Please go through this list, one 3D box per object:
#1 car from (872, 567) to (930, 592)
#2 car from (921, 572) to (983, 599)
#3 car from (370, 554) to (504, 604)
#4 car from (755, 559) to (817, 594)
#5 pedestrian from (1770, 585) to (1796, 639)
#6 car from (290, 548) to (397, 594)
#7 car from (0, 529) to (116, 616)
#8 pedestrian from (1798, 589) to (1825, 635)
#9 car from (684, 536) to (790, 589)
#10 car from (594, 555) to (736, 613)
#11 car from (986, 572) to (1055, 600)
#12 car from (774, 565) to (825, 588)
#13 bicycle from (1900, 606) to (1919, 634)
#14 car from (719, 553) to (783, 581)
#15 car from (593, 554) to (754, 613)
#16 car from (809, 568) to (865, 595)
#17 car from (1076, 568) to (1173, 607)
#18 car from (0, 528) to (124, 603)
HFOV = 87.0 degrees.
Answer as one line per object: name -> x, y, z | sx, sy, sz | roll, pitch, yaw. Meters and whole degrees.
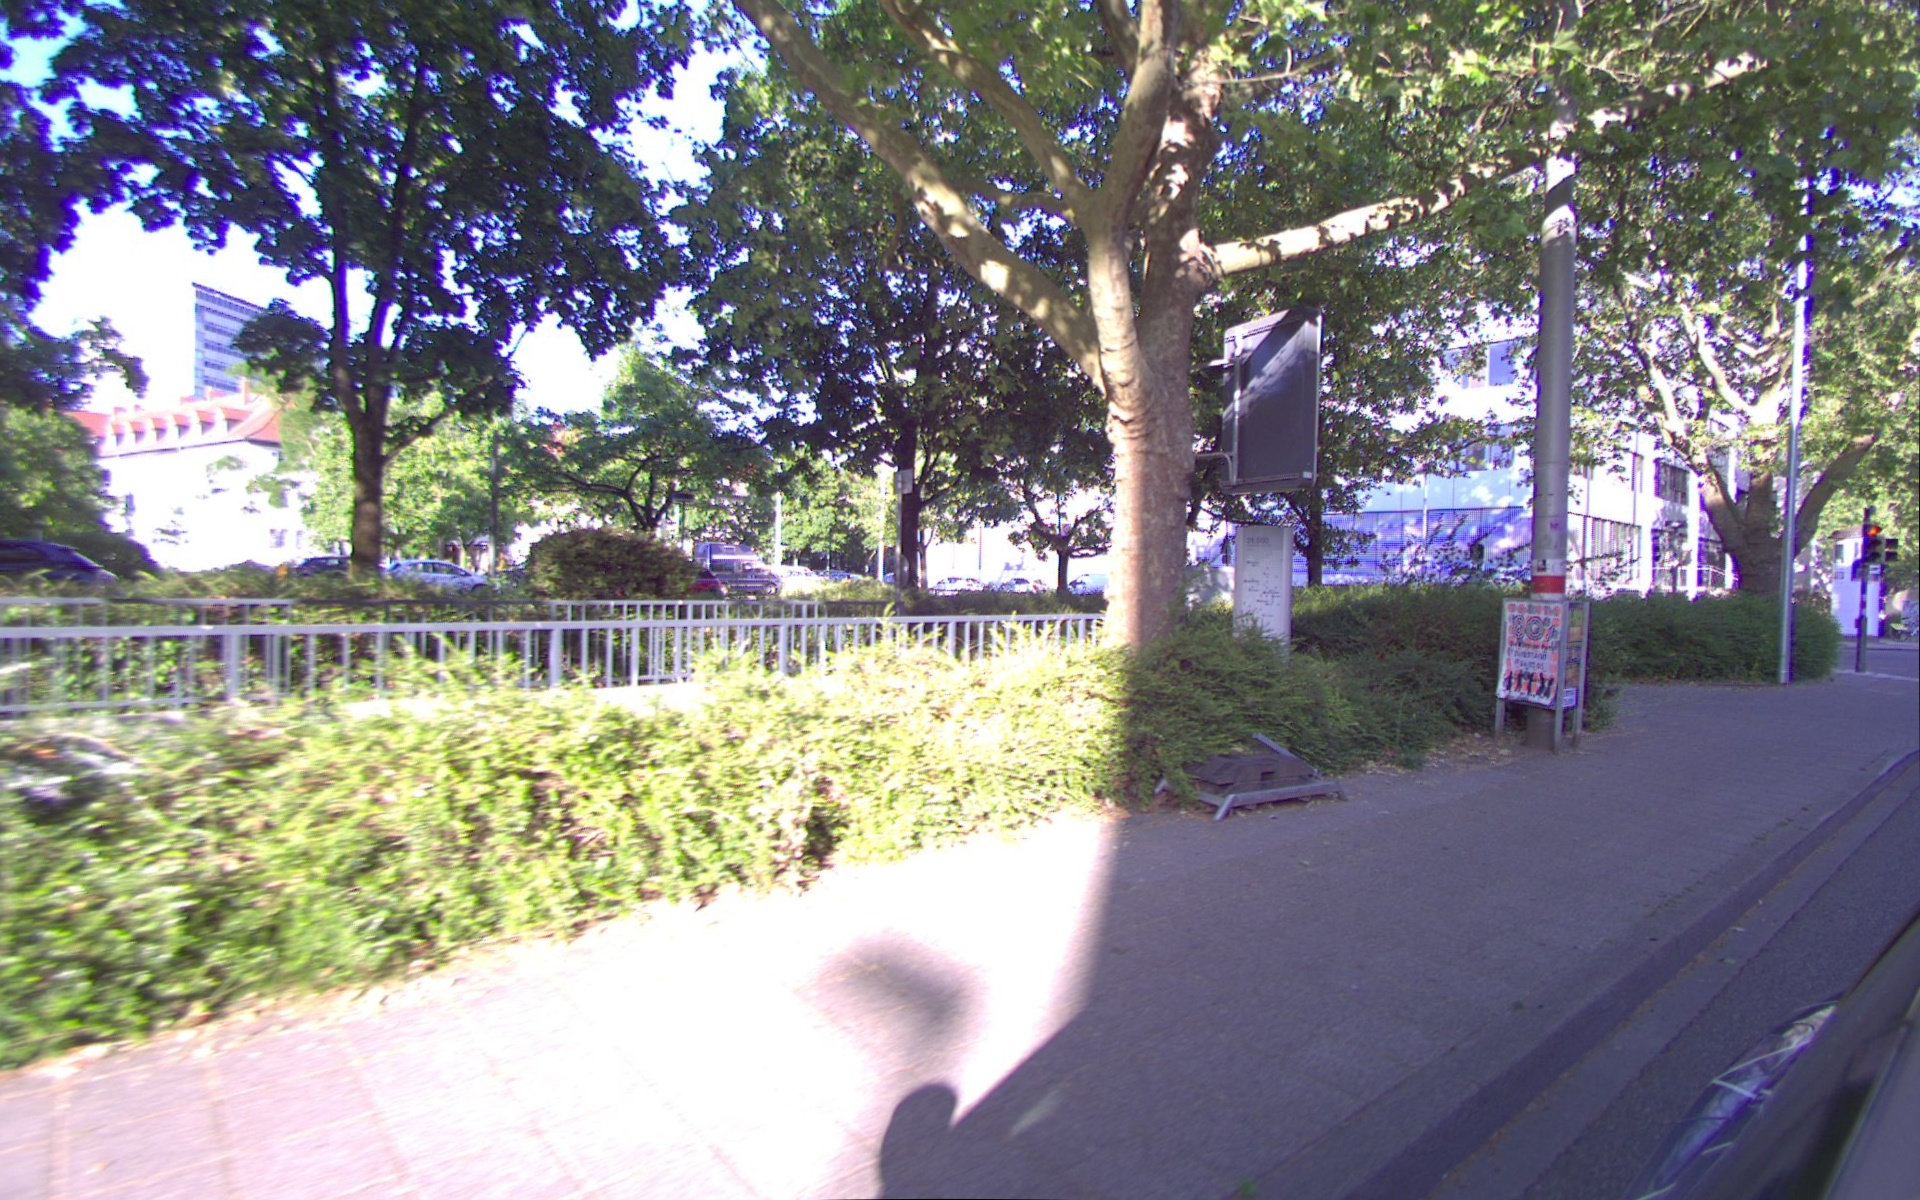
car -> -3.825, -1.317, 65.109 | 1.602, 1.503, 3.843 | 1, 2, -43
car -> -0.524, -0.894, 61.691 | 1.602, 1.503, 3.843 | 1, 2, -43
car -> -18.842, -0.716, 36.524 | 3.930, 1.647, 1.921 | 1, 0, -41
car -> -14.457, -1.964, 84.416 | 1.988, 2.651, 5.054 | 4, 2, 35
pedestrian -> 28.628, 0.405, 35.206 | 0.600, 1.862, 0.563 | 1, 0, 34
car -> -28.903, -1.321, 47.508 | 3.976, 1.971, 1.920 | 1, 0, -42
car -> -18.993, -0.555, 19.593 | 1.759, 1.646, 3.936 | 2, 1, 44
pedestrian -> 29.142, 0.417, 34.642 | 0.670, 1.543, 0.553 | 2, 0, 37
car -> -11.583, -1.912, 52.827 | 5.072, 2.605, 1.996 | 1, 1, -43
car -> -9.913, -0.507, 34.218 | 4.238, 1.834, 1.784 | 1, 1, -43
car -> 3.428, -0.805, 57.908 | 1.602, 1.503, 3.843 | 1, 2, -43
car -> -11.413, -1.688, 71.770 | 3.587, 1.508, 1.606 | 3, 2, 40
bicycle -> 37.881, 0.816, 39.443 | 1.618, 1.011, 0.617 | 4, 4, 24
car -> -15.584, -2.481, 75.255 | 4.892, 1.808, 2.060 | 5, 3, 40
car -> -8.465, -0.461, 30.123 | 4.238, 1.621, 1.784 | 1, 1, -43
car -> -10.871, -1.651, 89.530 | 1.988, 2.135, 5.054 | 4, 2, 35
car -> 8.524, -0.656, 52.720 | 2.073, 1.851, 4.711 | 1, 2, -43
car -> -21.855, -0.786, 23.350 | 3.930, 1.647, 1.551 | 1, 0, -41
